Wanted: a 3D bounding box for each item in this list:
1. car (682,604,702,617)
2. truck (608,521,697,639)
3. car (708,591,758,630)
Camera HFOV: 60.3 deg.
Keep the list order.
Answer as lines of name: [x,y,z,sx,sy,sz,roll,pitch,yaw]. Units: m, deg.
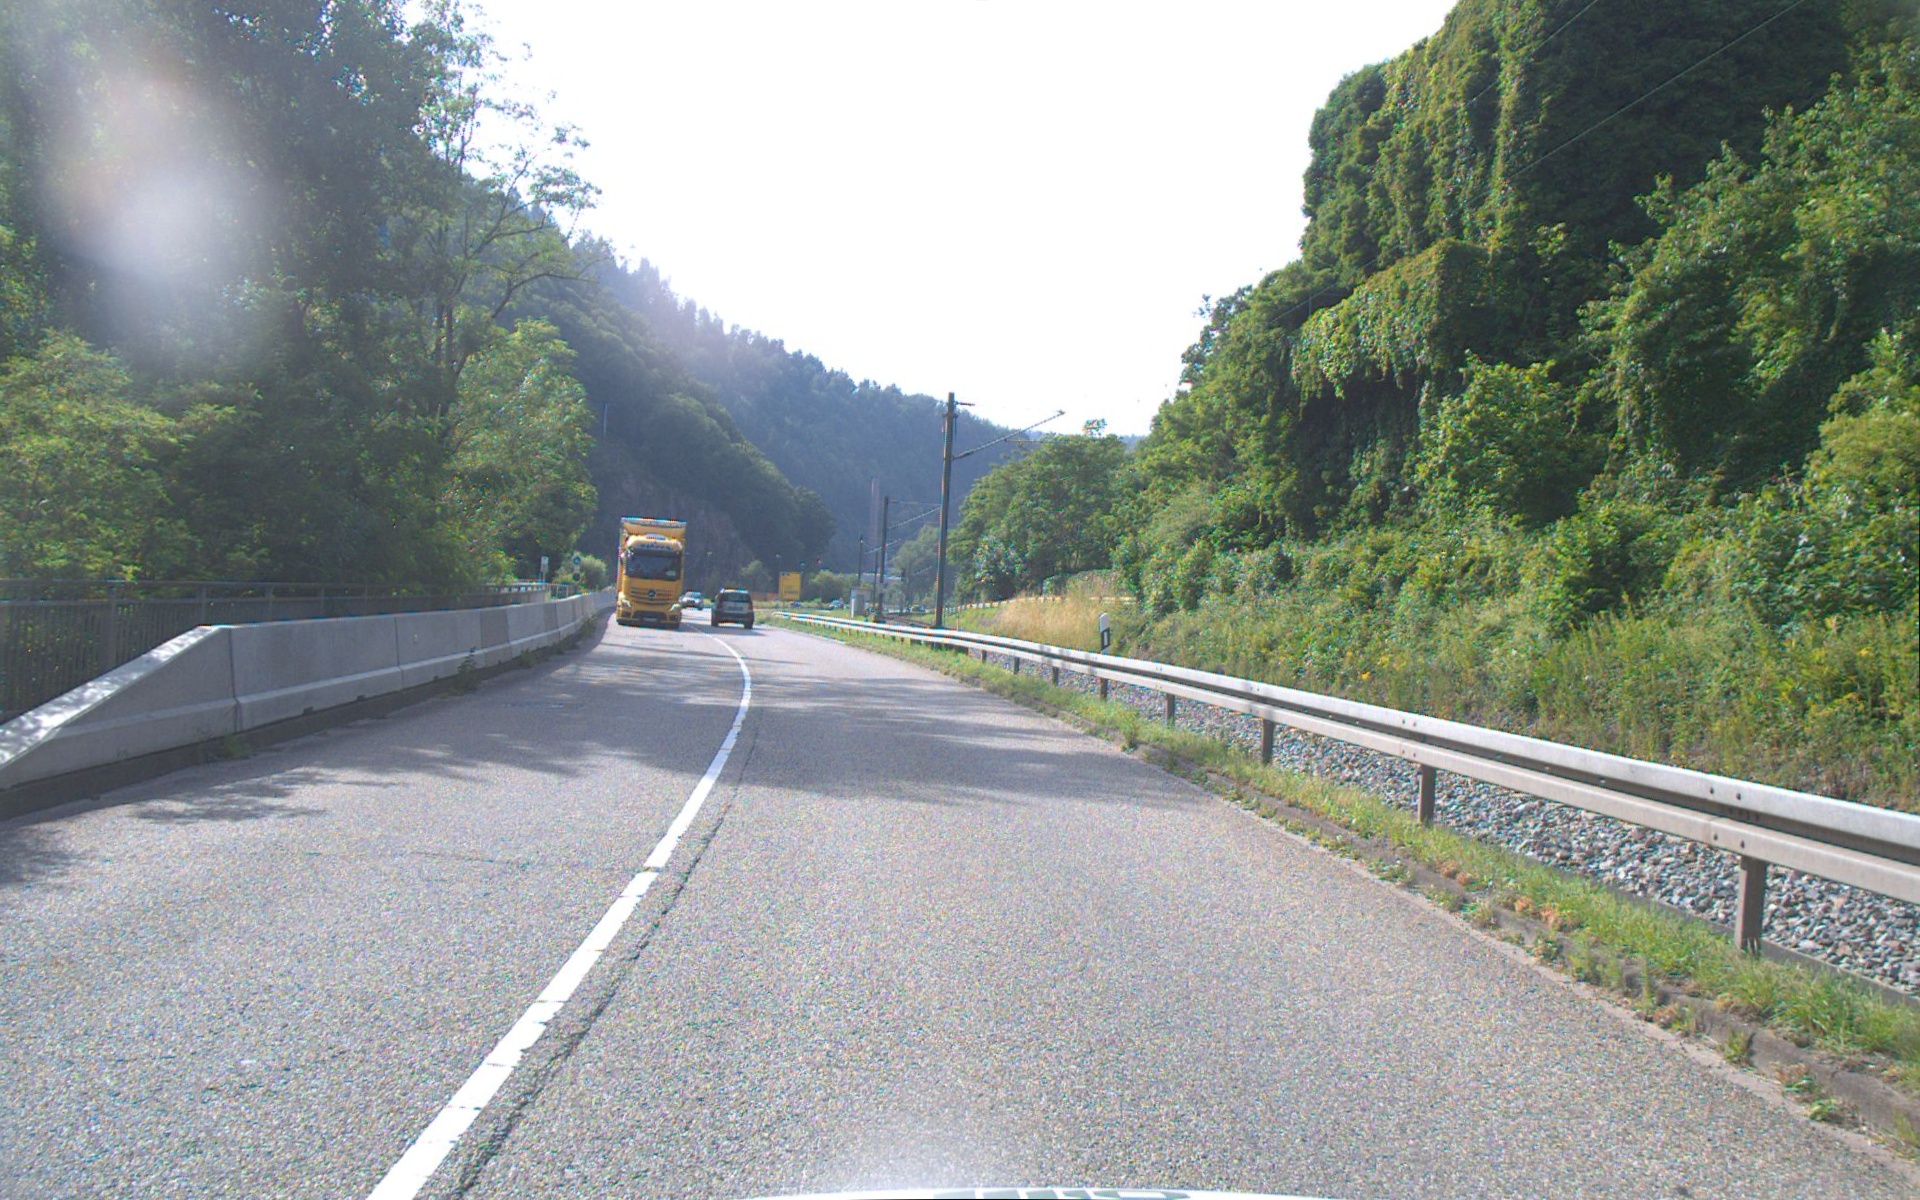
car: [-26.167,1.005,161.603,1.443,1.103,3.271,5,0,-3]
truck: [-12.739,-0.719,68.762,3.308,4.460,12.677,0,0,-10]
car: [-10.240,0.480,74.448,1.841,1.685,3.986,1,-1,-14]
